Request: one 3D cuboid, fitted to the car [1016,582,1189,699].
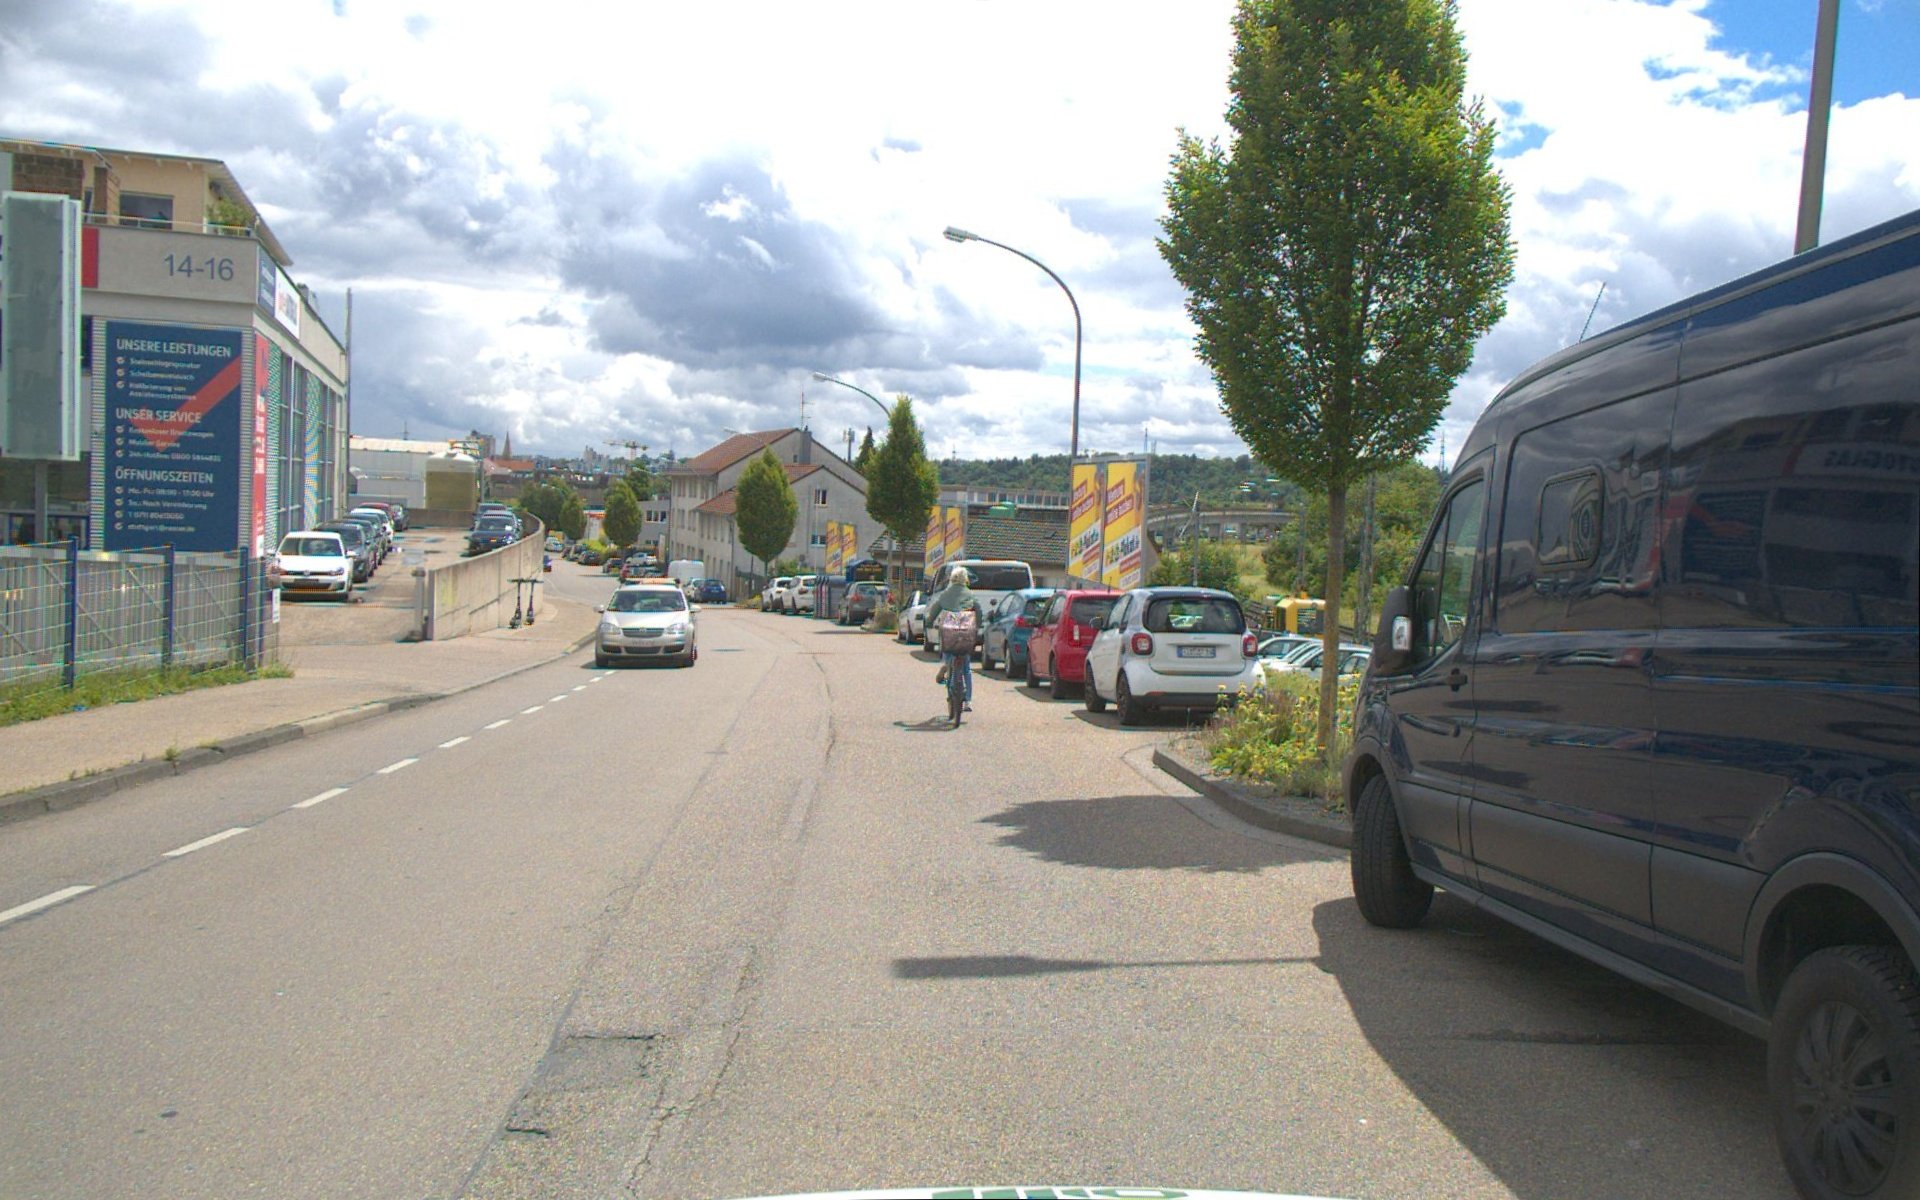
[{"bbox_3d":[1.961,0.515,23.927,1.839,1.534,3.996,0,1,-5],"label":"car"}]

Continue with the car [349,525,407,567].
[{"bbox_3d":[-19.774,-1.824,56.284,1.643,1.346,3.702,0,1,-16],"label":"car"}]

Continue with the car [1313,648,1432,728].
[{"bbox_3d":[9.073,1.901,36.629,1.588,1.532,3.576,0,1,-3],"label":"car"}]

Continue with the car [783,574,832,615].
[{"bbox_3d":[-6.641,-0.247,71.638,1.780,1.735,3.990,0,1,-10],"label":"car"}]

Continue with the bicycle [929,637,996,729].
[{"bbox_3d":[0.010,0.899,18.412,0.674,0.893,2.101,0,1,-2],"label":"bicycle"}]

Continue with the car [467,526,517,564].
[{"bbox_3d":[-17.517,-2.069,61.988,1.642,1.346,3.706,1,2,-14],"label":"car"}]

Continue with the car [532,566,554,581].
[{"bbox_3d":[-40.326,-2.590,159.928,1.959,1.445,3.988,0,1,-12],"label":"car"}]

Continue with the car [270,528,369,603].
[{"bbox_3d":[-15.216,-0.805,39.454,1.817,1.679,3.983,0,1,-16],"label":"car"}]

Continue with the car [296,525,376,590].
[{"bbox_3d":[-16.659,-1.107,44.282,1.668,1.658,3.702,0,1,-16],"label":"car"}]

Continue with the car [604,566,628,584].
[{"bbox_3d":[-30.221,-2.193,145.209,1.960,1.489,3.985,0,1,-14],"label":"car"}]

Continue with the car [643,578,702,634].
[{"bbox_3d":[-8.551,0.155,49.301,1.677,1.601,3.991,0,1,-10],"label":"car"}]

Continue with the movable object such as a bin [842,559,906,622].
[{"bbox_3d":[-3.253,-0.363,62.173,2.096,2.343,2.551,0,0,-11],"label":"movable object such as a bin"}]

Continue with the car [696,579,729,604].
[{"bbox_3d":[-15.420,-0.547,102.989,1.957,1.489,3.991,0,1,-10],"label":"car"}]

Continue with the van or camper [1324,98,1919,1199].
[{"bbox_3d":[3.094,0.186,5.719,2.082,2.630,5.914,1,0,-3],"label":"van or camper"}]

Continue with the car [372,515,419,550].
[{"bbox_3d":[-23.059,-2.742,67.655,1.643,1.346,3.702,0,1,-16],"label":"car"}]

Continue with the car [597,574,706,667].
[{"bbox_3d":[-5.647,0.328,30.696,1.670,1.589,4.322,1,1,-7],"label":"car"}]

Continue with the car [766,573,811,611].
[{"bbox_3d":[-8.033,-0.377,77.314,1.809,1.735,3.990,0,1,-10],"label":"car"}]

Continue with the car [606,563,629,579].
[{"bbox_3d":[-33.340,-2.810,161.142,1.961,1.445,3.984,0,1,-15],"label":"car"}]

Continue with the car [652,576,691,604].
[{"bbox_3d":[-17.523,-0.622,100.442,1.961,1.646,3.983,0,1,-16],"label":"car"}]

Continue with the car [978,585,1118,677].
[{"bbox_3d":[1.446,0.486,28.521,1.867,1.467,3.539,0,1,-7],"label":"car"}]

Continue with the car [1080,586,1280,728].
[{"bbox_3d":[2.520,0.608,19.575,1.758,1.532,2.903,0,1,-5],"label":"car"}]

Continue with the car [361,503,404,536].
[{"bbox_3d":[-26.508,-3.690,76.043,1.643,1.346,3.702,0,1,-16],"label":"car"}]

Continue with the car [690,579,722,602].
[{"bbox_3d":[-16.585,-0.651,107.780,1.957,1.489,3.991,0,1,-10],"label":"car"}]

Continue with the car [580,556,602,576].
[{"bbox_3d":[-41.664,-3.858,186.591,1.963,2.048,3.979,4,0,-19],"label":"car"}]

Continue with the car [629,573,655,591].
[{"bbox_3d":[-26.787,-1.528,139.188,1.960,1.489,3.985,0,1,-14],"label":"car"}]

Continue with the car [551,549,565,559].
[{"bbox_3d":[-58.995,-6.726,242.833,1.961,1.445,3.984,0,1,-15],"label":"car"}]

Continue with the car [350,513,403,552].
[{"bbox_3d":[-22.076,-2.527,62.667,1.643,1.346,3.702,0,1,-16],"label":"car"}]

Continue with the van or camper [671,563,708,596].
[{"bbox_3d":[-18.340,-1.383,112.009,1.961,2.048,3.983,4,0,-16],"label":"van or camper"}]

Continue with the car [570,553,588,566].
[{"bbox_3d":[-46.098,-4.902,200.225,1.961,1.445,3.984,0,1,-15],"label":"car"}]

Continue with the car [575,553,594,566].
[{"bbox_3d":[-43.281,-4.616,190.753,1.961,1.445,3.984,0,1,-15],"label":"car"}]

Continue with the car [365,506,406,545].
[{"bbox_3d":[-29.210,-3.767,84.199,1.675,1.759,3.501,4,0,-16],"label":"car"}]

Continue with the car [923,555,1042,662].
[{"bbox_3d":[0.389,0.139,35.141,1.955,2.049,4.912,2,0,-5],"label":"car"}]

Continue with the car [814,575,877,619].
[{"bbox_3d":[-4.624,-0.138,66.393,2.096,1.735,3.990,0,1,-11],"label":"car"}]

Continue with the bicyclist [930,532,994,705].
[{"bbox_3d":[0.013,0.190,18.345,0.671,1.857,1.080,0,0,-2],"label":"bicyclist"}]

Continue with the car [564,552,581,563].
[{"bbox_3d":[-49.794,-5.436,212.401,1.961,1.445,3.984,0,1,-15],"label":"car"}]

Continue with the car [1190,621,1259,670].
[{"bbox_3d":[9.040,1.521,56.766,1.588,1.532,3.576,0,1,-3],"label":"car"}]

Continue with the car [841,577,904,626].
[{"bbox_3d":[-3.068,0.025,57.614,1.955,1.646,3.994,0,1,-7],"label":"car"}]
